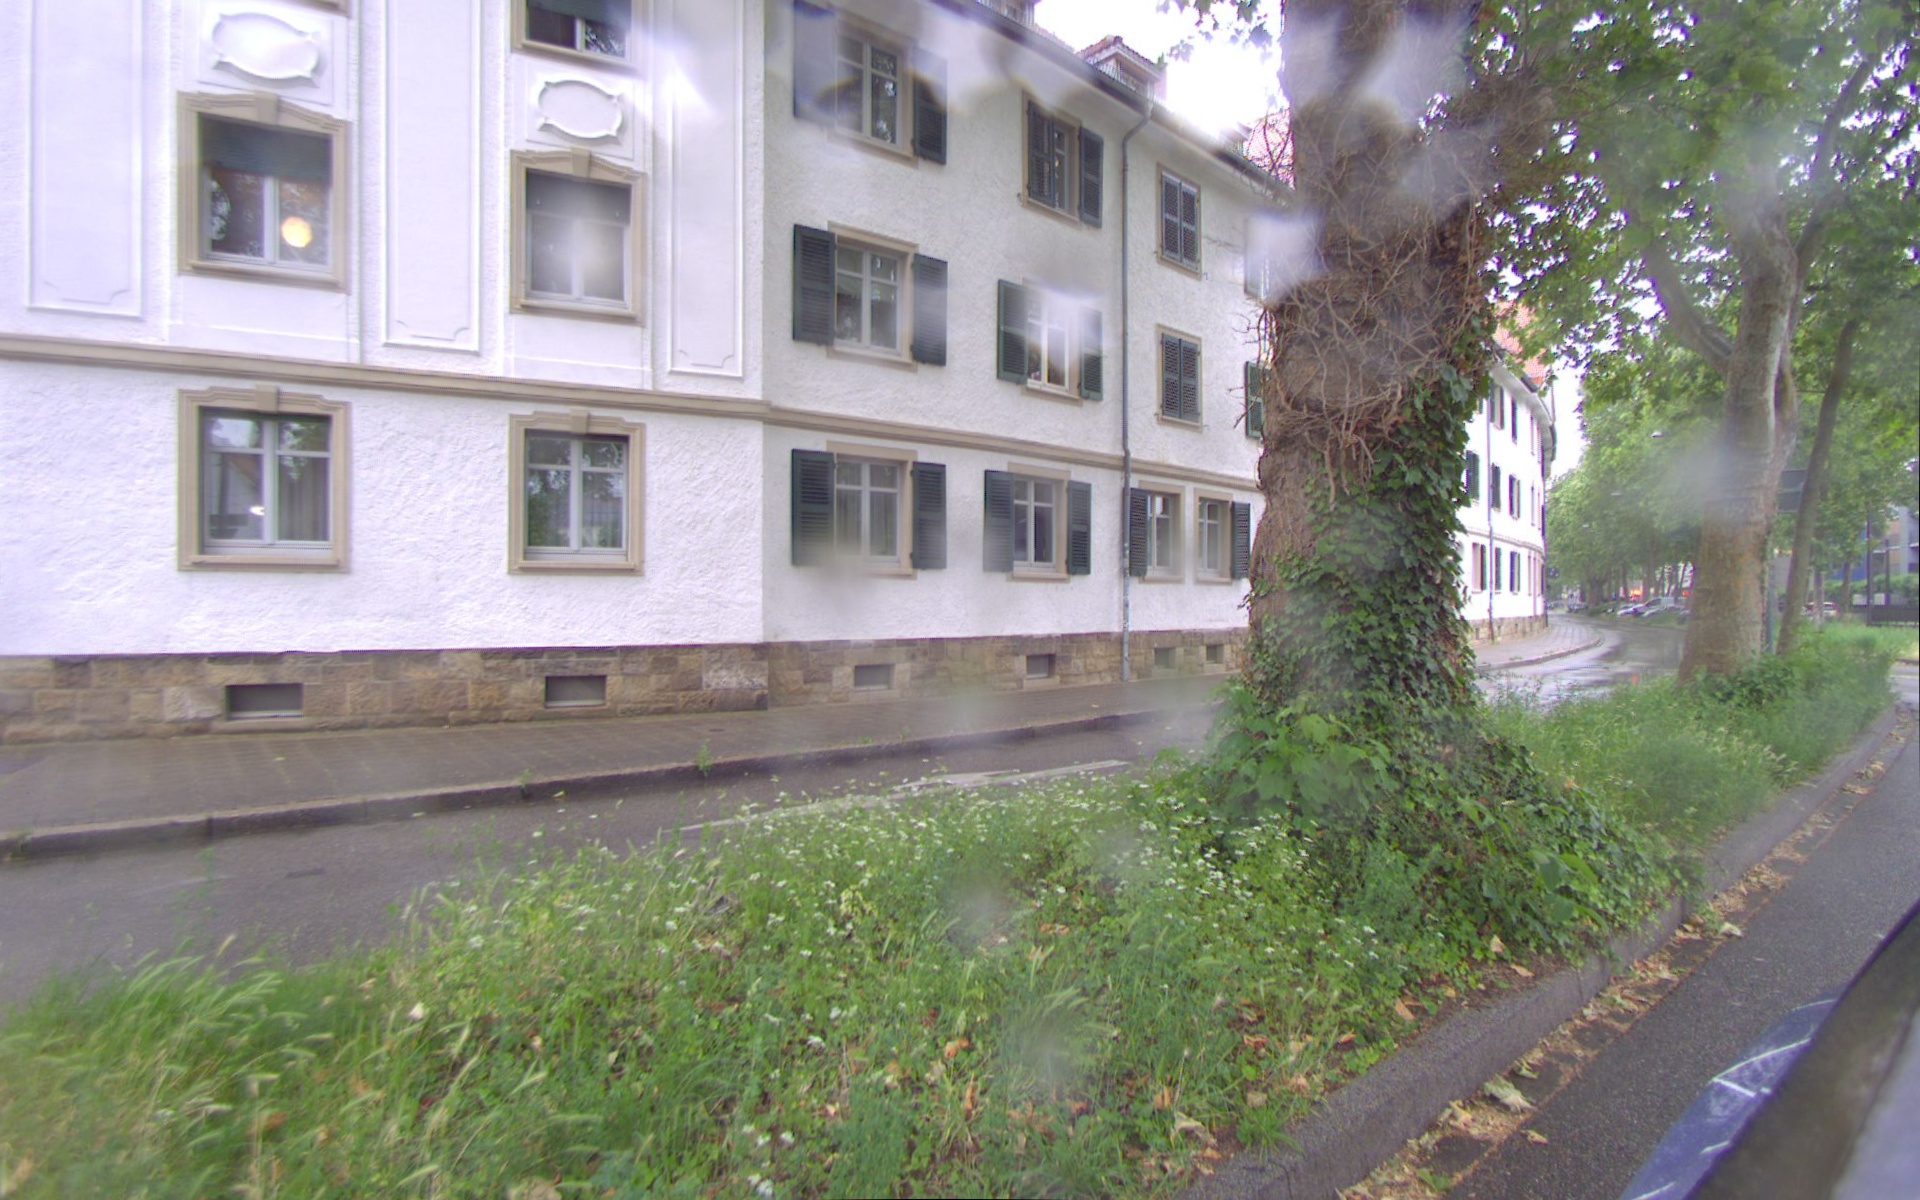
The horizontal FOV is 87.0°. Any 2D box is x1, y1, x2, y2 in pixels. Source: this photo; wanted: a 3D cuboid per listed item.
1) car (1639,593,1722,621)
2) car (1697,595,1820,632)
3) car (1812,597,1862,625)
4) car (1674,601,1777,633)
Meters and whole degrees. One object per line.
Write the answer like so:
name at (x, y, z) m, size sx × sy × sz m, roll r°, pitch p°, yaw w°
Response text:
car at (56.596, 0.539, 79.581) m, size 1.960 × 2.039 × 4.899 m, roll 1°, pitch 1°, yaw -30°
car at (38.198, 0.619, 48.507) m, size 1.892 × 1.560 × 4.236 m, roll 0°, pitch 1°, yaw -30°
car at (57.750, 0.691, 66.725) m, size 1.677 × 1.745 × 3.656 m, roll 2°, pitch 1°, yaw 28°
car at (43.605, 0.935, 57.742) m, size 1.715 × 1.632 × 4.335 m, roll 1°, pitch 1°, yaw -35°
